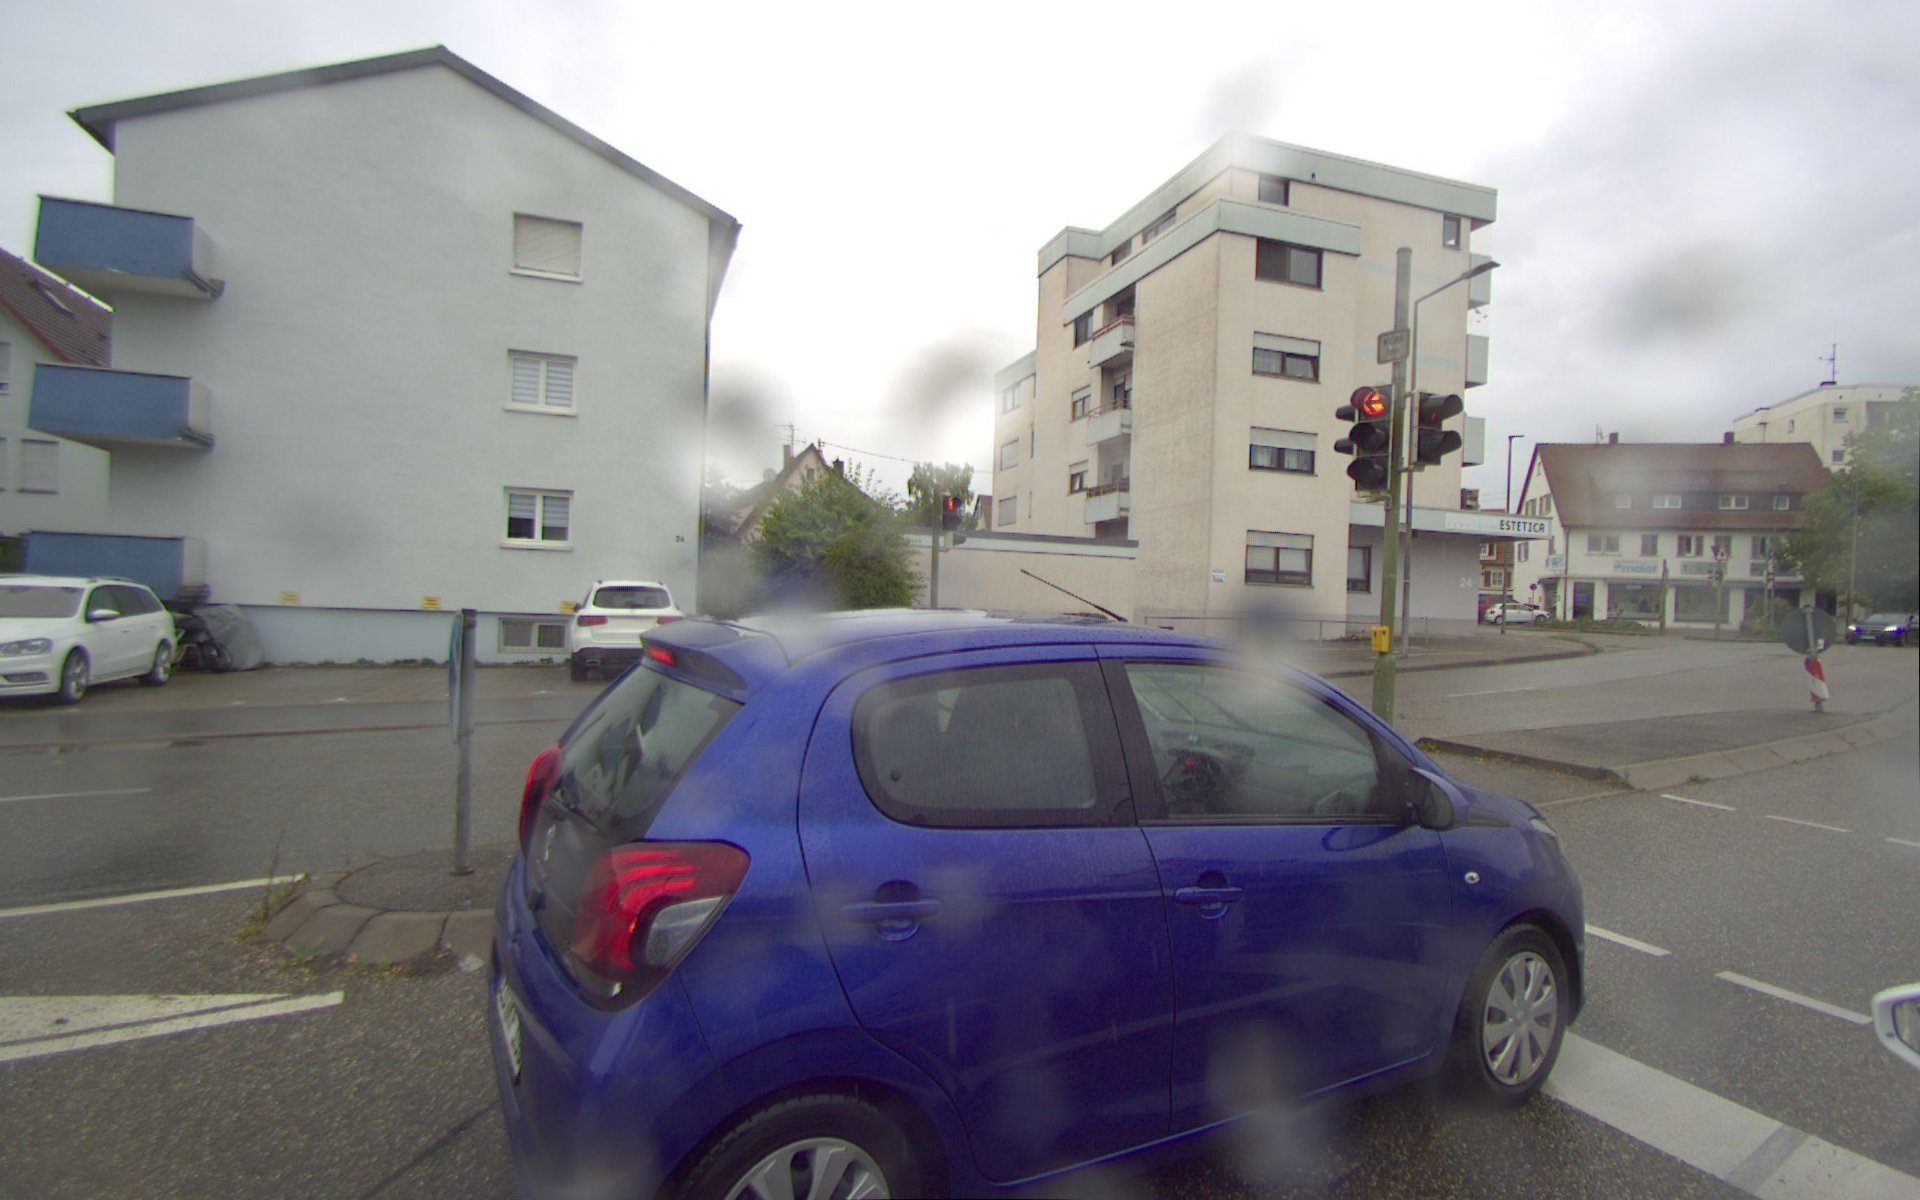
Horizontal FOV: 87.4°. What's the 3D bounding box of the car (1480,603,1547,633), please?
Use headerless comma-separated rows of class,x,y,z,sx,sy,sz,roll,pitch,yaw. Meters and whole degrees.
car,37.917,1.233,68.889,3.611,1.946,1.889,2,0,14

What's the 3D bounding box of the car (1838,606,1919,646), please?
car,40.479,1.148,43.864,4.488,1.646,1.983,2,0,-32

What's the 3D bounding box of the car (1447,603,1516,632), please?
car,37.209,1.238,71.720,3.987,1.868,1.889,2,0,14

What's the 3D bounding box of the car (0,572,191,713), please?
car,-11.482,0.449,12.497,1.854,1.480,4.732,1,-1,-23

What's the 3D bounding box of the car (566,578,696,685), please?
car,-5.765,0.503,17.567,1.884,1.637,3.982,2,0,-19

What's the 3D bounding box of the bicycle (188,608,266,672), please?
bicycle,-12.696,0.681,17.412,1.053,1.067,0.345,0,1,-30

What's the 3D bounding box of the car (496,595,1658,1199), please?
car,0.468,0.735,3.092,3.324,1.432,1.498,1,1,-30
